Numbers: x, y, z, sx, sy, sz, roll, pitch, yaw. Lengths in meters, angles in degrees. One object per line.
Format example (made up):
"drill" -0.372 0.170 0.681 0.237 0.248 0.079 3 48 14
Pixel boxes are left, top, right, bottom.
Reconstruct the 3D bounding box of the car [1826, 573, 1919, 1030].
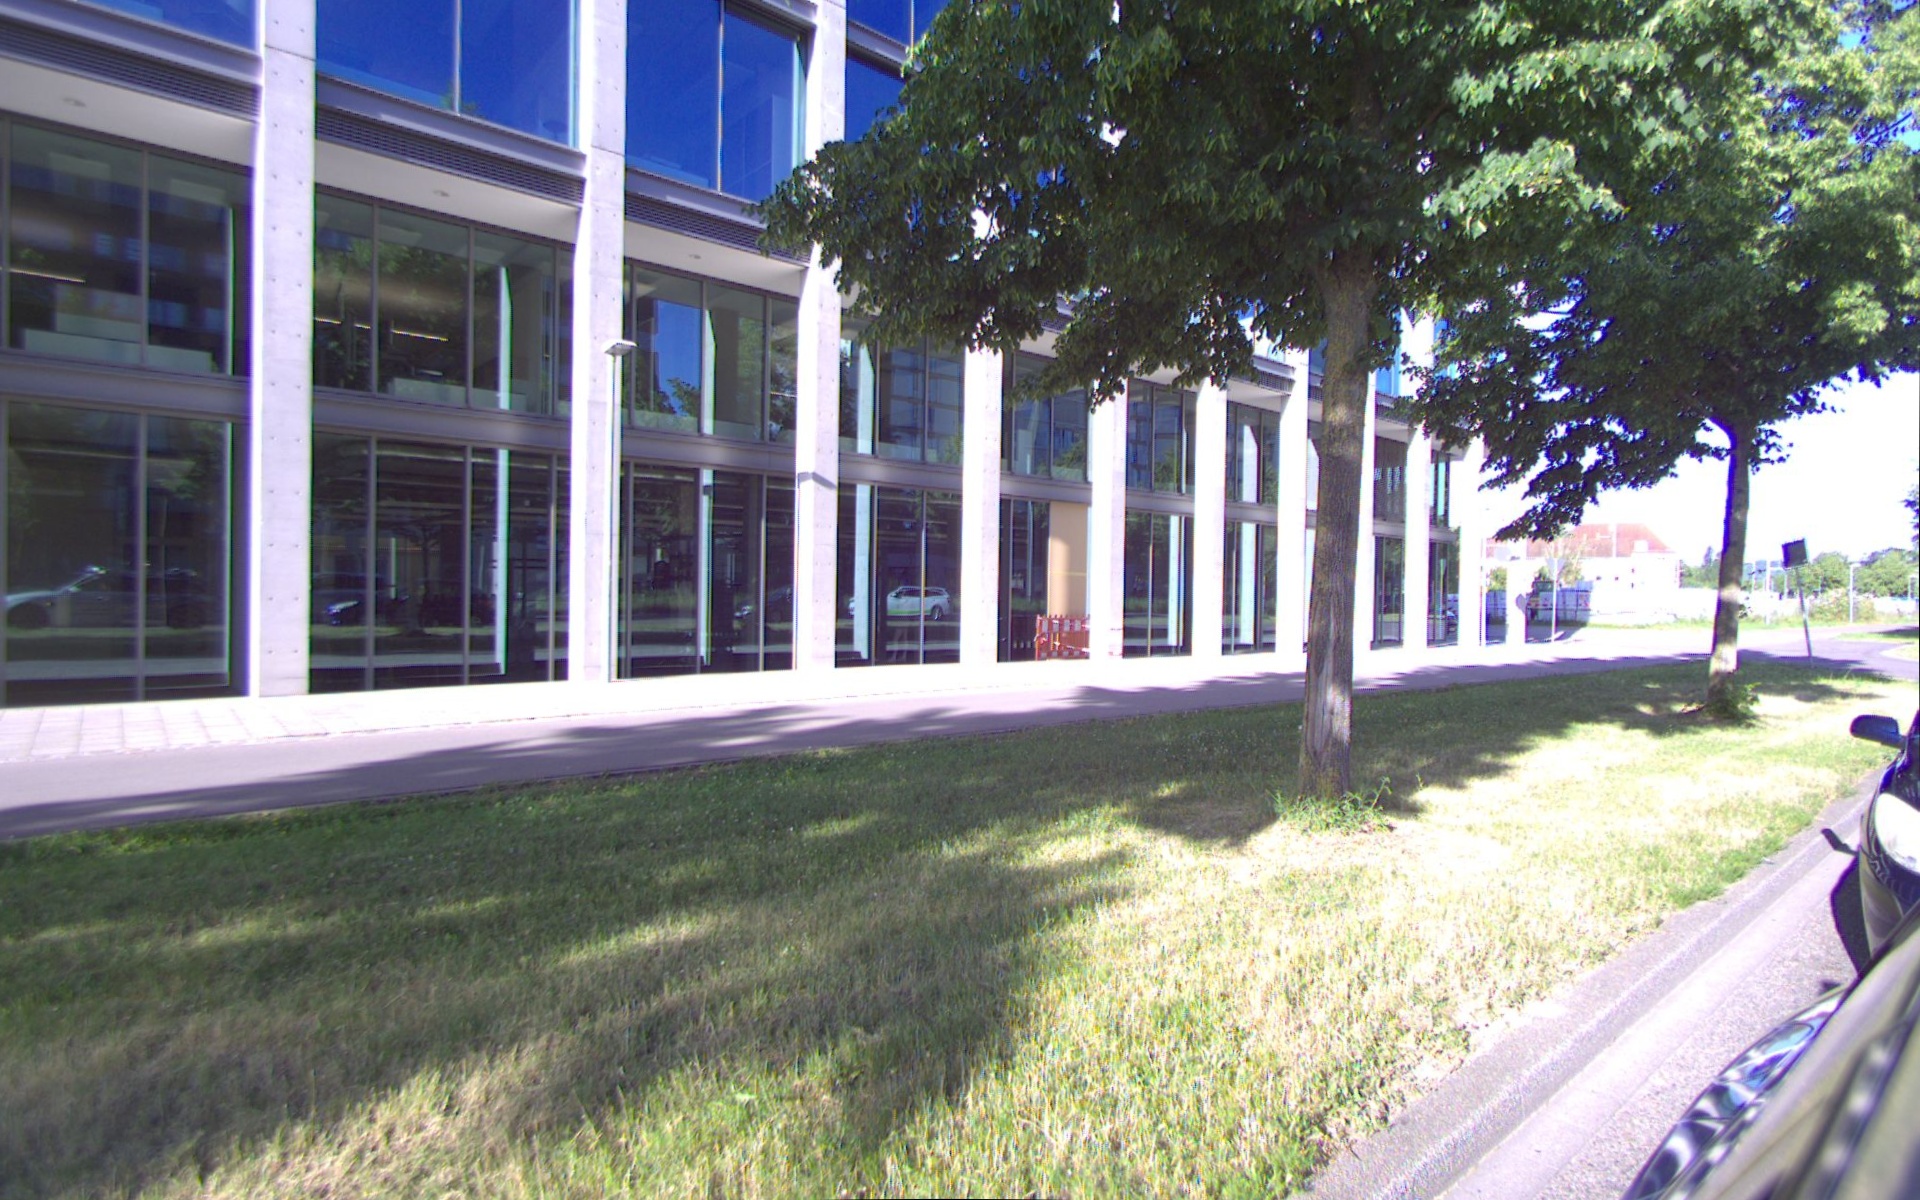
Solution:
"car" 5.261 0.672 4.246 4.403 1.500 1.845 0 1 -41

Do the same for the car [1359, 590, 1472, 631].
"car" 19.515 0.421 43.486 1.963 1.598 3.997 0 1 -38
